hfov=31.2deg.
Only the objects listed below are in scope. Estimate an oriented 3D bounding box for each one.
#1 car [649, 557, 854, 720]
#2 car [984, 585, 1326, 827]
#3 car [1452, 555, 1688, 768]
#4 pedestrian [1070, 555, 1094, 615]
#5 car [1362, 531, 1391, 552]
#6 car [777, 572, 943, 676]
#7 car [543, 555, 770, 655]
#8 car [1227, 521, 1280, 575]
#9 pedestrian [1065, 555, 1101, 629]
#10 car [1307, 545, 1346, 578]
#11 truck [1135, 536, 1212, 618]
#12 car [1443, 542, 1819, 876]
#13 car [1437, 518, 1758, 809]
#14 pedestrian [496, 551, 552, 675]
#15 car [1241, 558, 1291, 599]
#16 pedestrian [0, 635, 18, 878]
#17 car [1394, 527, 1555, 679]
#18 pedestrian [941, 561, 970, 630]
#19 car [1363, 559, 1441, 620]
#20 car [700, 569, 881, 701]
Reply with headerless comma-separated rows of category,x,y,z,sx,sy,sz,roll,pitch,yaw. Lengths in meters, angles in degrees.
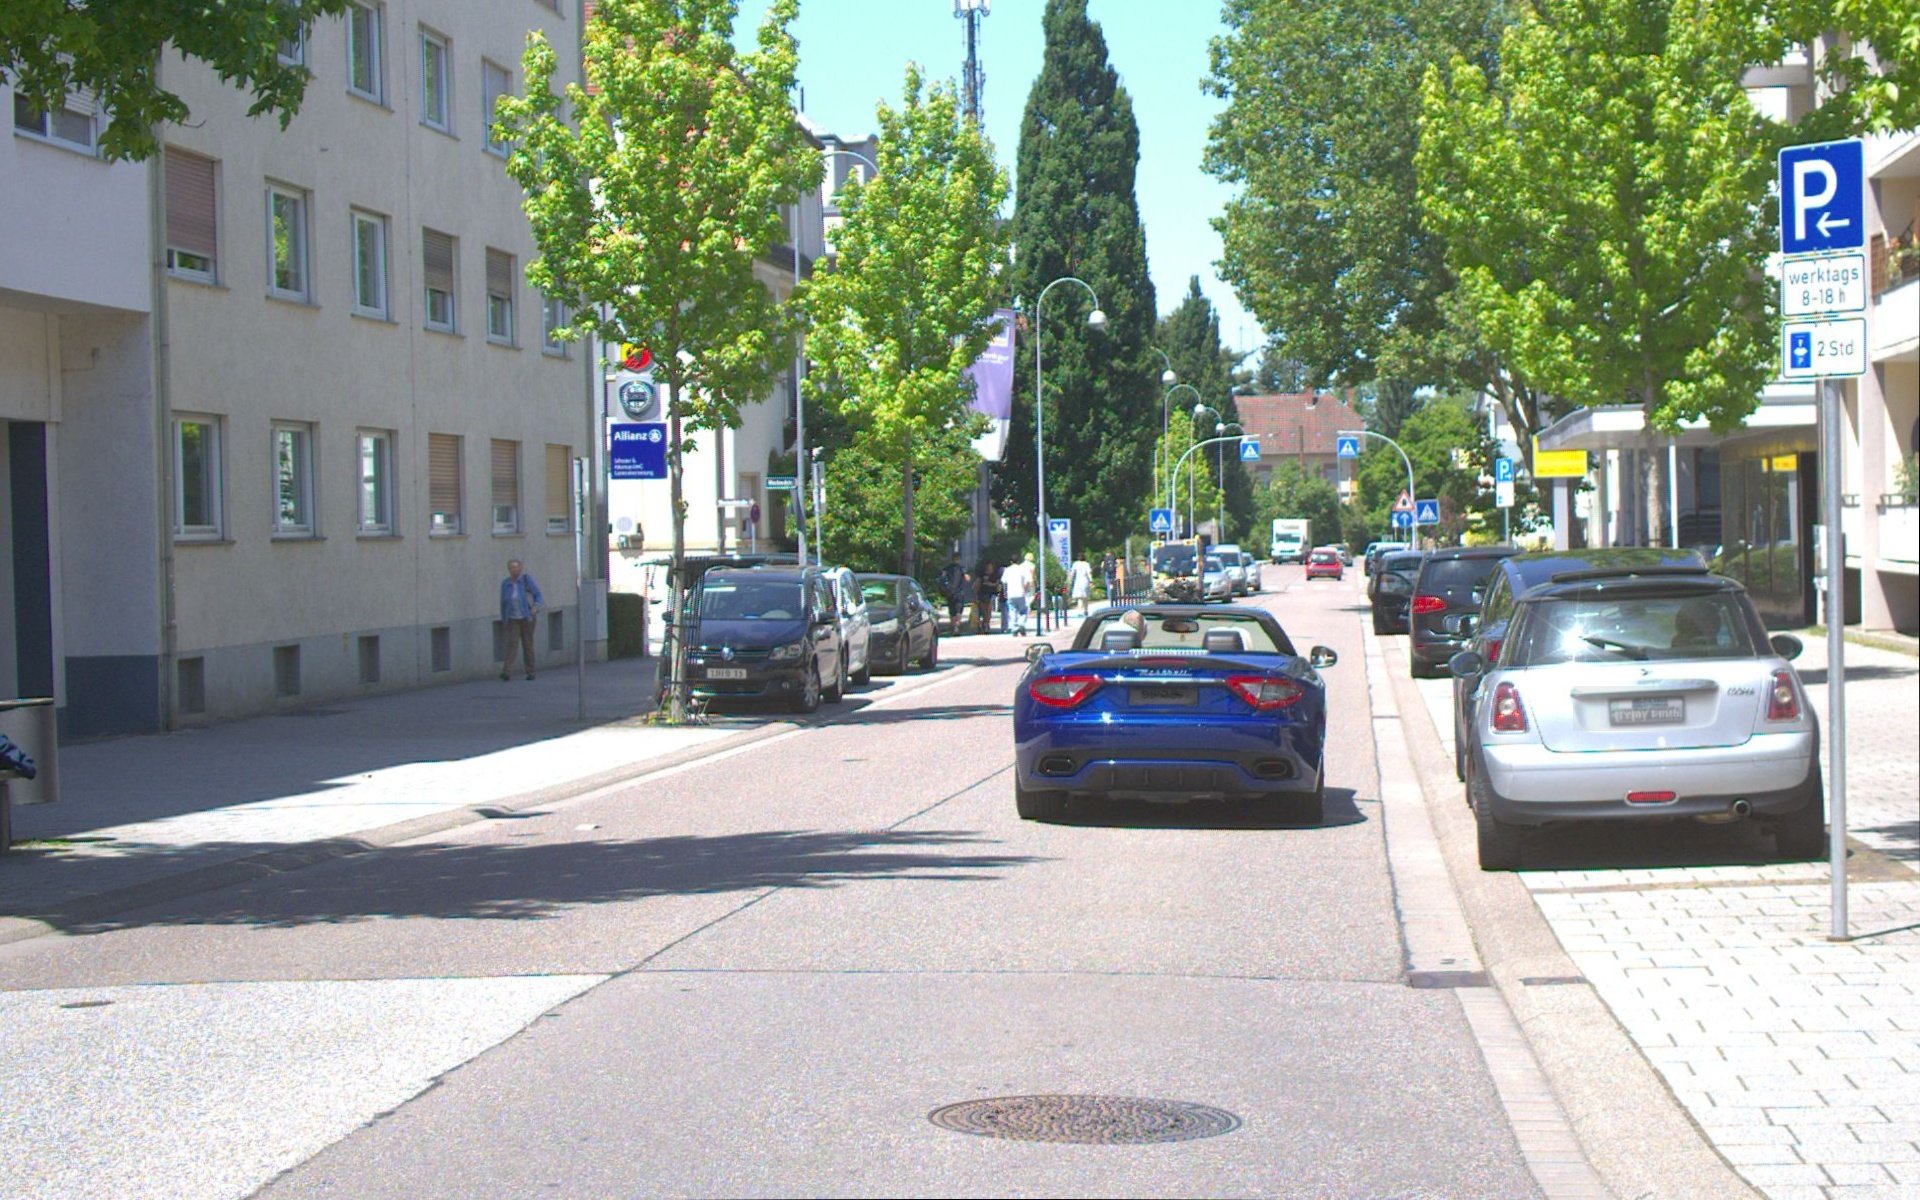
car,-2.397,0.404,40.587,1.729,1.734,4.392,2,1,5
car,1.312,0.625,22.208,1.976,1.393,4.626,0,0,5
car,4.967,0.455,28.425,1.723,1.578,4.224,-2,0,8
pedestrian,3.236,-0.395,91.239,0.587,1.569,0.781,-1,1,6
car,29.920,-4.207,246.637,1.951,1.471,4.136,-2,1,8
car,-1.467,0.329,52.277,1.755,1.469,4.320,1,1,9
car,-5.775,0.081,65.695,4.060,1.816,1.759,1,1,5
car,10.259,-1.836,120.012,1.770,1.761,4.137,-2,1,5
pedestrian,3.262,-0.211,91.211,0.849,1.909,0.761,-2,3,6
car,17.098,-1.778,160.472,1.770,1.471,4.136,0,0,6
truck,5.886,-0.654,94.335,1.805,2.110,4.714,-2,1,7
car,3.453,0.505,18.246,1.623,1.553,3.839,-1,0,7
car,4.172,0.362,23.098,1.764,1.700,4.704,-2,0,7
pedestrian,-6.105,0.179,48.149,0.655,1.674,0.631,-3,3,-11
car,11.752,-0.832,131.910,1.770,1.471,4.137,-2,1,6
pedestrian,-5.725,0.889,19.259,0.568,1.367,0.666,-2,0,16
car,6.955,-0.004,46.554,1.994,1.792,4.568,-2,2,8
pedestrian,-0.087,-0.098,73.829,0.579,1.469,0.564,-1,0,2
car,11.922,-0.297,92.891,1.976,1.445,4.348,-2,1,7
car,-2.219,0.425,46.120,1.824,1.614,4.392,1,1,5
